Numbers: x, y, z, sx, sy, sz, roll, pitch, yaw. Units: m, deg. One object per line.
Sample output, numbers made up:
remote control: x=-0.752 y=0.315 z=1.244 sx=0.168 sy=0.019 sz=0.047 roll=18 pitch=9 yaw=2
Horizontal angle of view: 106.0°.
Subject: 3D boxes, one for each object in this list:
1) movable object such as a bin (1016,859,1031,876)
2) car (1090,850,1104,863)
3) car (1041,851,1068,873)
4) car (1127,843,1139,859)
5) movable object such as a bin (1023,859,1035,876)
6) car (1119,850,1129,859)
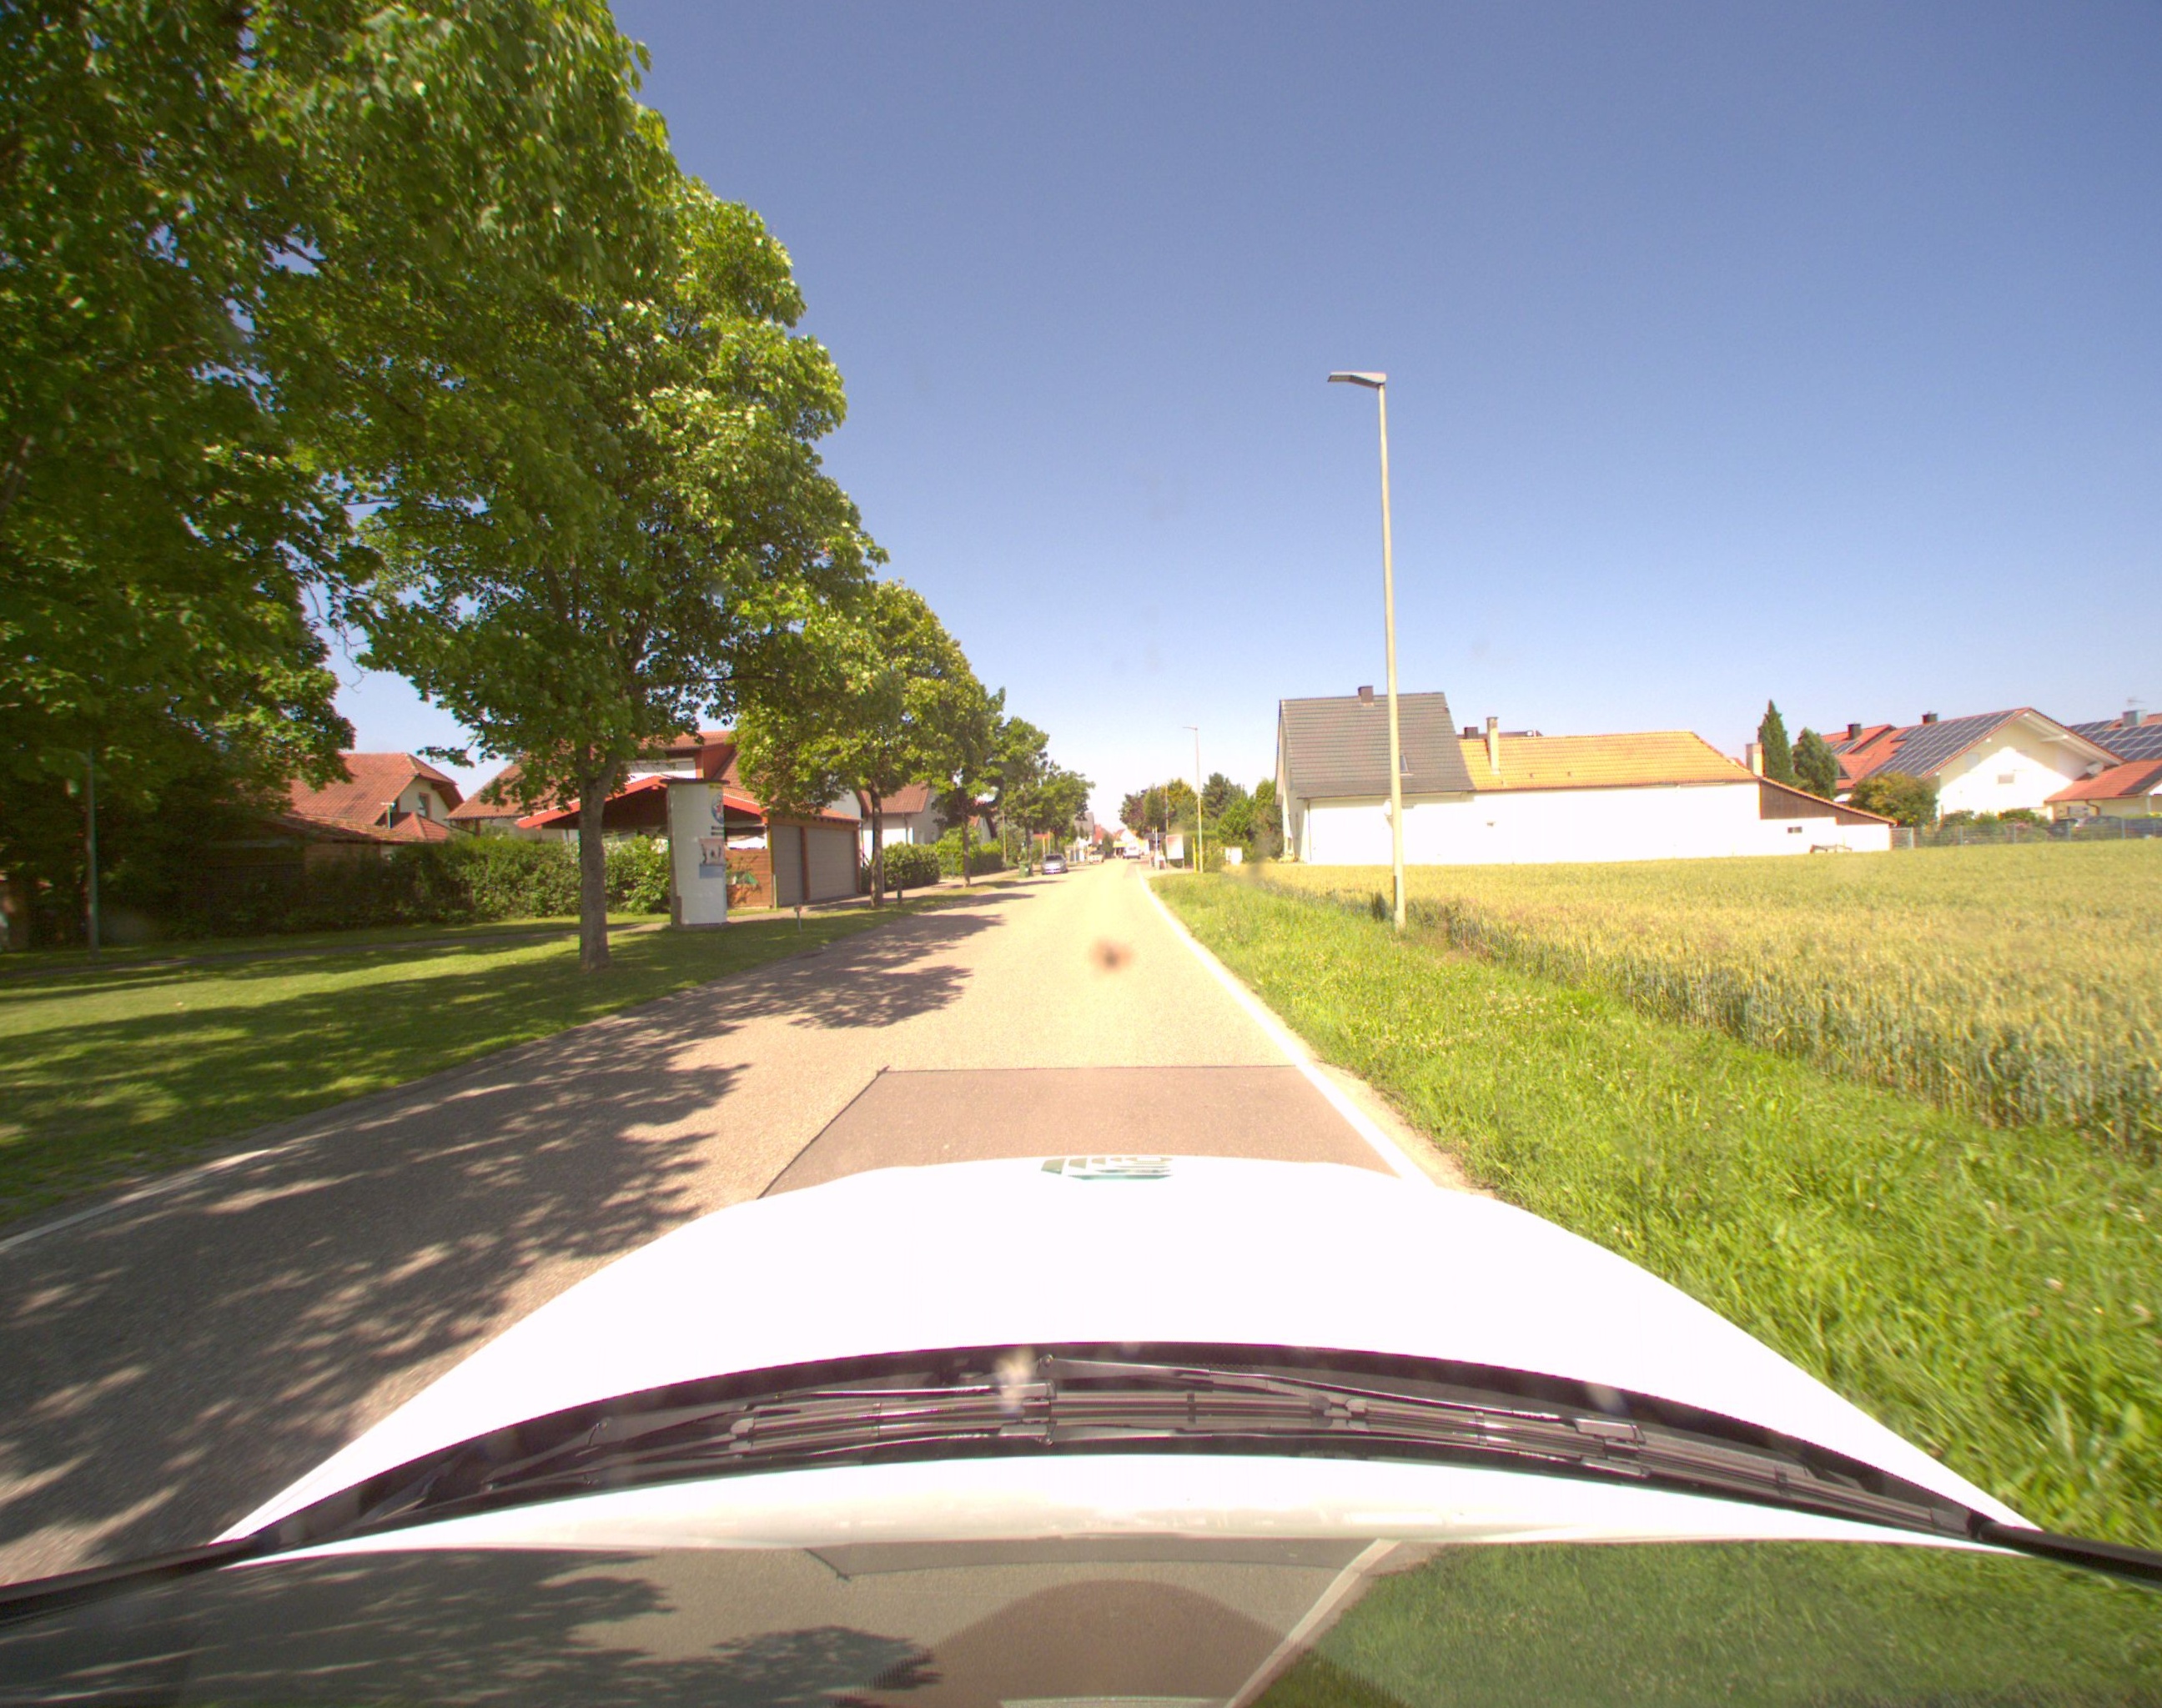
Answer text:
movable object such as a bin: x=-3.759 y=0.917 z=53.649 sx=0.706 sy=1.078 sz=0.643 roll=-3 pitch=0 yaw=28
car: x=1.934 y=0.282 z=100.488 sx=1.660 sy=1.524 sz=3.442 roll=-3 pitch=0 yaw=0
car: x=-1.900 y=0.529 z=58.976 sx=1.641 sy=1.423 sz=4.081 roll=-5 pitch=0 yaw=1
car: x=8.171 y=-0.486 z=128.587 sx=1.730 sy=2.432 sz=4.378 roll=-3 pitch=0 yaw=3
movable object such as a bin: x=-3.467 y=0.879 z=54.245 sx=0.569 sy=1.078 sz=0.602 roll=-3 pitch=0 yaw=24
car: x=8.683 y=0.138 z=164.156 sx=1.829 sy=1.752 sz=3.797 roll=-3 pitch=0 yaw=1
